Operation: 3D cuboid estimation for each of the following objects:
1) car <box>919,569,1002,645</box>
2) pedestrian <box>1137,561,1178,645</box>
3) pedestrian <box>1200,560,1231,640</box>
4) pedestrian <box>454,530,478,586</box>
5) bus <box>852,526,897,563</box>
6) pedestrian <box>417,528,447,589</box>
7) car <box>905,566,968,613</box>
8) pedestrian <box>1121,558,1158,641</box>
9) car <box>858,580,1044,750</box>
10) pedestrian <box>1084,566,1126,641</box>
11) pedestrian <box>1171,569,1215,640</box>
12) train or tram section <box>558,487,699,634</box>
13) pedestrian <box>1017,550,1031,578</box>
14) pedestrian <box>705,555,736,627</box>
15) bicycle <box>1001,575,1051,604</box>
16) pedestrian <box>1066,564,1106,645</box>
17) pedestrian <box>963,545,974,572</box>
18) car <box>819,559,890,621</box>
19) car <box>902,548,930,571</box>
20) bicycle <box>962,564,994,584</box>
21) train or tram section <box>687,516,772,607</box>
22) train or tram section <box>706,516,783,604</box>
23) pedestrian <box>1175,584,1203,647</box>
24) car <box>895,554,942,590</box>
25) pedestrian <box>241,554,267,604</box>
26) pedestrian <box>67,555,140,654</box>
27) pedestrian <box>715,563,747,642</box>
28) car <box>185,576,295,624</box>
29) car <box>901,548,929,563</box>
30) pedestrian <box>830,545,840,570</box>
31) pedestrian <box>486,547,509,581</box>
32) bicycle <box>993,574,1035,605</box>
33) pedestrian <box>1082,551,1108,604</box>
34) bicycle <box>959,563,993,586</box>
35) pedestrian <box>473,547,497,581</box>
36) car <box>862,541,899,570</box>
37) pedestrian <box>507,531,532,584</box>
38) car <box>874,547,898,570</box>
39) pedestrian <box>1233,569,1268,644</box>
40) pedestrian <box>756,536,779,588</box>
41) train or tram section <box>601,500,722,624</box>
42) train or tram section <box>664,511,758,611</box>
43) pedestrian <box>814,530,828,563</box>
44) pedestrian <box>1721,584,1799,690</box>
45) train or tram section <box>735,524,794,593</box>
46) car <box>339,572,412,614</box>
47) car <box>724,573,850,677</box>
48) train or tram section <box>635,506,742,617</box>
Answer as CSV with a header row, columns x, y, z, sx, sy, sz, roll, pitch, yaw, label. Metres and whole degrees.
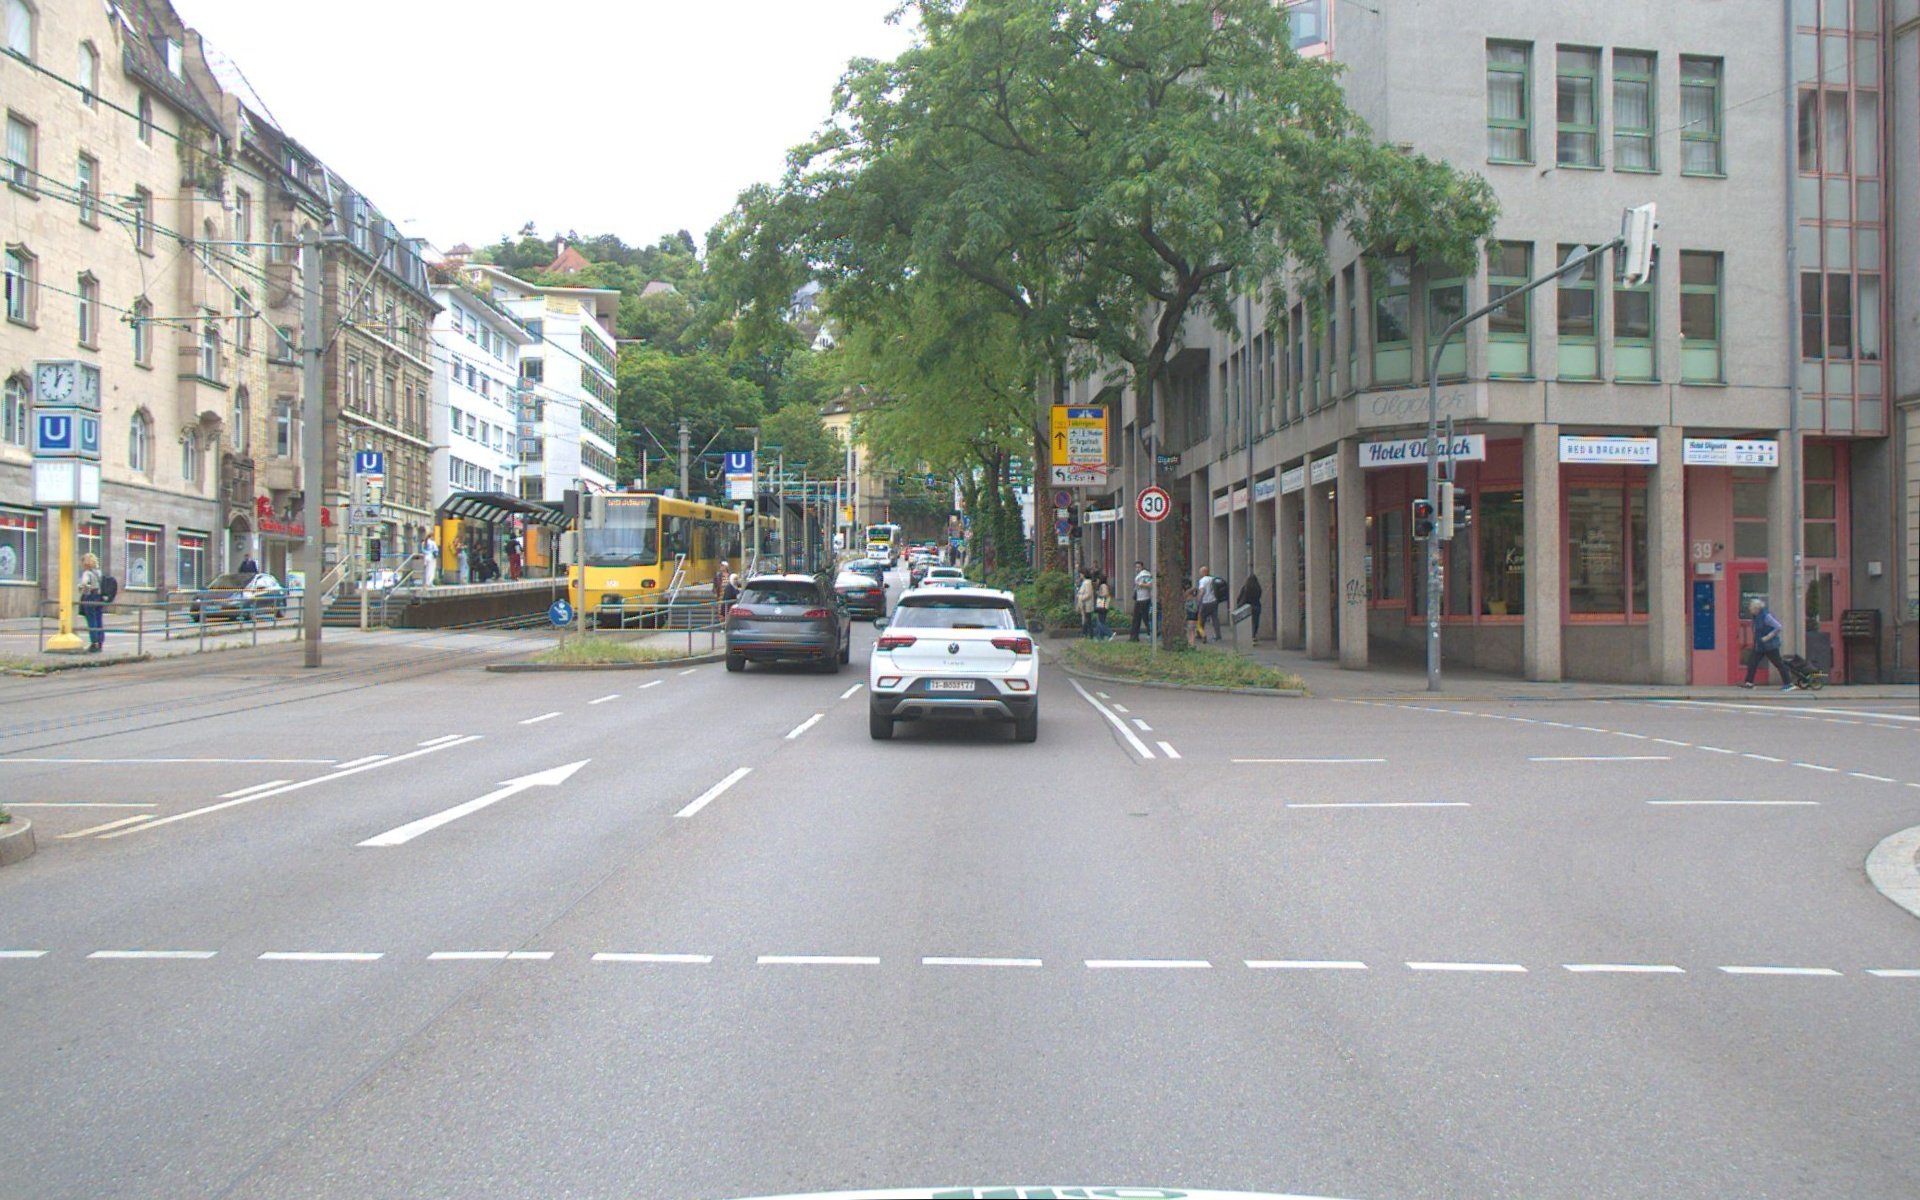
x,y,z,sx,sy,sz,roll,pitch,yaw,label
-0.035,0.150,40.340,1.847,1.713,4.159,1,0,-2,car
4.436,0.058,37.144,0.707,1.834,0.834,-2,3,-6,pedestrian
5.883,-0.005,38.116,0.508,1.820,0.763,1,0,-6,pedestrian
-15.491,-1.318,51.853,0.624,1.741,0.688,0,1,-11,pedestrian
-8.241,-5.251,158.246,3.308,3.118,13.304,1,0,-7,bus
-15.235,-1.197,47.699,0.674,1.741,0.661,0,1,-3,pedestrian
-0.945,-0.401,63.280,1.850,1.713,4.153,1,0,-8,car
4.181,-0.006,38.540,0.719,1.907,0.732,0,0,-6,pedestrian
-0.037,0.618,18.370,1.799,1.611,4.158,1,1,1,car
3.420,0.072,38.949,0.819,1.733,0.763,-2,1,-6,pedestrian
5.360,0.101,38.072,0.819,1.590,0.763,1,0,-6,pedestrian
-9.059,-1.086,45.794,2.777,3.742,5.751,1,1,-1,train or tram section
3.786,-2.117,98.468,0.627,1.643,0.584,1,0,-22,pedestrian
-5.844,-0.232,40.364,0.671,1.741,0.711,0,1,-2,pedestrian
2.598,-0.412,65.165,1.878,1.095,0.613,-2,1,-5,bicycle
2.902,0.104,38.136,0.680,1.808,0.689,-4,1,-6,pedestrian
0.627,-3.225,127.264,0.746,2.049,0.839,1,0,3,pedestrian
-3.221,-0.343,50.986,1.873,1.718,4.001,2,2,0,car
-3.550,-3.224,133.048,1.848,1.713,4.156,1,0,-6,car
1.068,-1.532,97.444,1.841,1.157,0.808,1,0,4,bicycle
-9.535,-1.602,68.847,2.777,3.582,5.751,1,1,-1,train or tram section
-9.658,-1.805,74.682,2.756,3.730,5.901,1,1,-1,train or tram section
4.982,0.329,36.042,0.462,1.357,0.519,1,0,-6,pedestrian
-2.525,-1.630,98.595,2.319,2.049,5.141,1,0,-7,car
-25.938,-0.773,60.794,0.624,1.793,0.833,0,0,-44,pedestrian
-15.264,0.077,29.472,0.858,1.735,0.811,1,0,27,pedestrian
-5.106,0.038,36.938,0.622,1.741,0.871,0,1,-2,pedestrian
-22.091,-0.016,50.872,1.597,1.399,3.784,0,1,2,car
-4.166,-4.157,154.423,1.548,1.193,3.681,1,0,16,car
-10.347,-3.521,136.737,0.746,2.049,0.838,1,0,-2,pedestrian
-15.748,-1.227,56.311,0.622,1.127,0.690,0,1,-2,pedestrian
2.094,-0.409,64.012,1.586,1.147,0.613,-2,1,2,bicycle
4.769,-0.796,58.450,0.747,1.813,0.847,-2,3,-7,pedestrian
0.945,-1.471,95.947,1.841,1.288,0.765,1,0,9,bicycle
-15.760,-1.205,54.878,0.622,1.127,0.690,0,1,-2,pedestrian
-5.967,-3.343,124.572,2.316,2.049,5.149,1,0,1,car
-15.046,-1.441,56.483,0.614,1.793,0.846,0,0,-1,pedestrian
-6.074,-3.378,135.474,1.847,1.713,4.160,1,0,-1,car
6.494,0.137,36.975,0.745,1.640,0.619,-1,3,10,pedestrian
-6.605,-1.306,56.791,0.703,1.761,0.670,1,0,-1,pedestrian
-9.190,-1.183,51.558,2.777,3.582,5.751,1,1,-1,train or tram section
-9.414,-1.479,63.090,2.777,3.582,5.751,1,1,-1,train or tram section
-8.661,-3.334,103.147,0.748,2.049,0.837,1,0,-9,pedestrian
13.619,0.612,28.148,1.102,1.742,0.854,1,0,33,pedestrian
-11.069,-2.360,94.069,2.757,3.730,6.748,1,1,-3,train or tram section
-22.596,-0.276,64.046,1.527,1.550,3.600,1,0,0,car
-2.988,0.376,29.301,1.953,1.664,3.999,1,1,-3,car
-9.313,-1.335,57.310,2.777,3.582,5.751,1,1,-1,train or tram section
